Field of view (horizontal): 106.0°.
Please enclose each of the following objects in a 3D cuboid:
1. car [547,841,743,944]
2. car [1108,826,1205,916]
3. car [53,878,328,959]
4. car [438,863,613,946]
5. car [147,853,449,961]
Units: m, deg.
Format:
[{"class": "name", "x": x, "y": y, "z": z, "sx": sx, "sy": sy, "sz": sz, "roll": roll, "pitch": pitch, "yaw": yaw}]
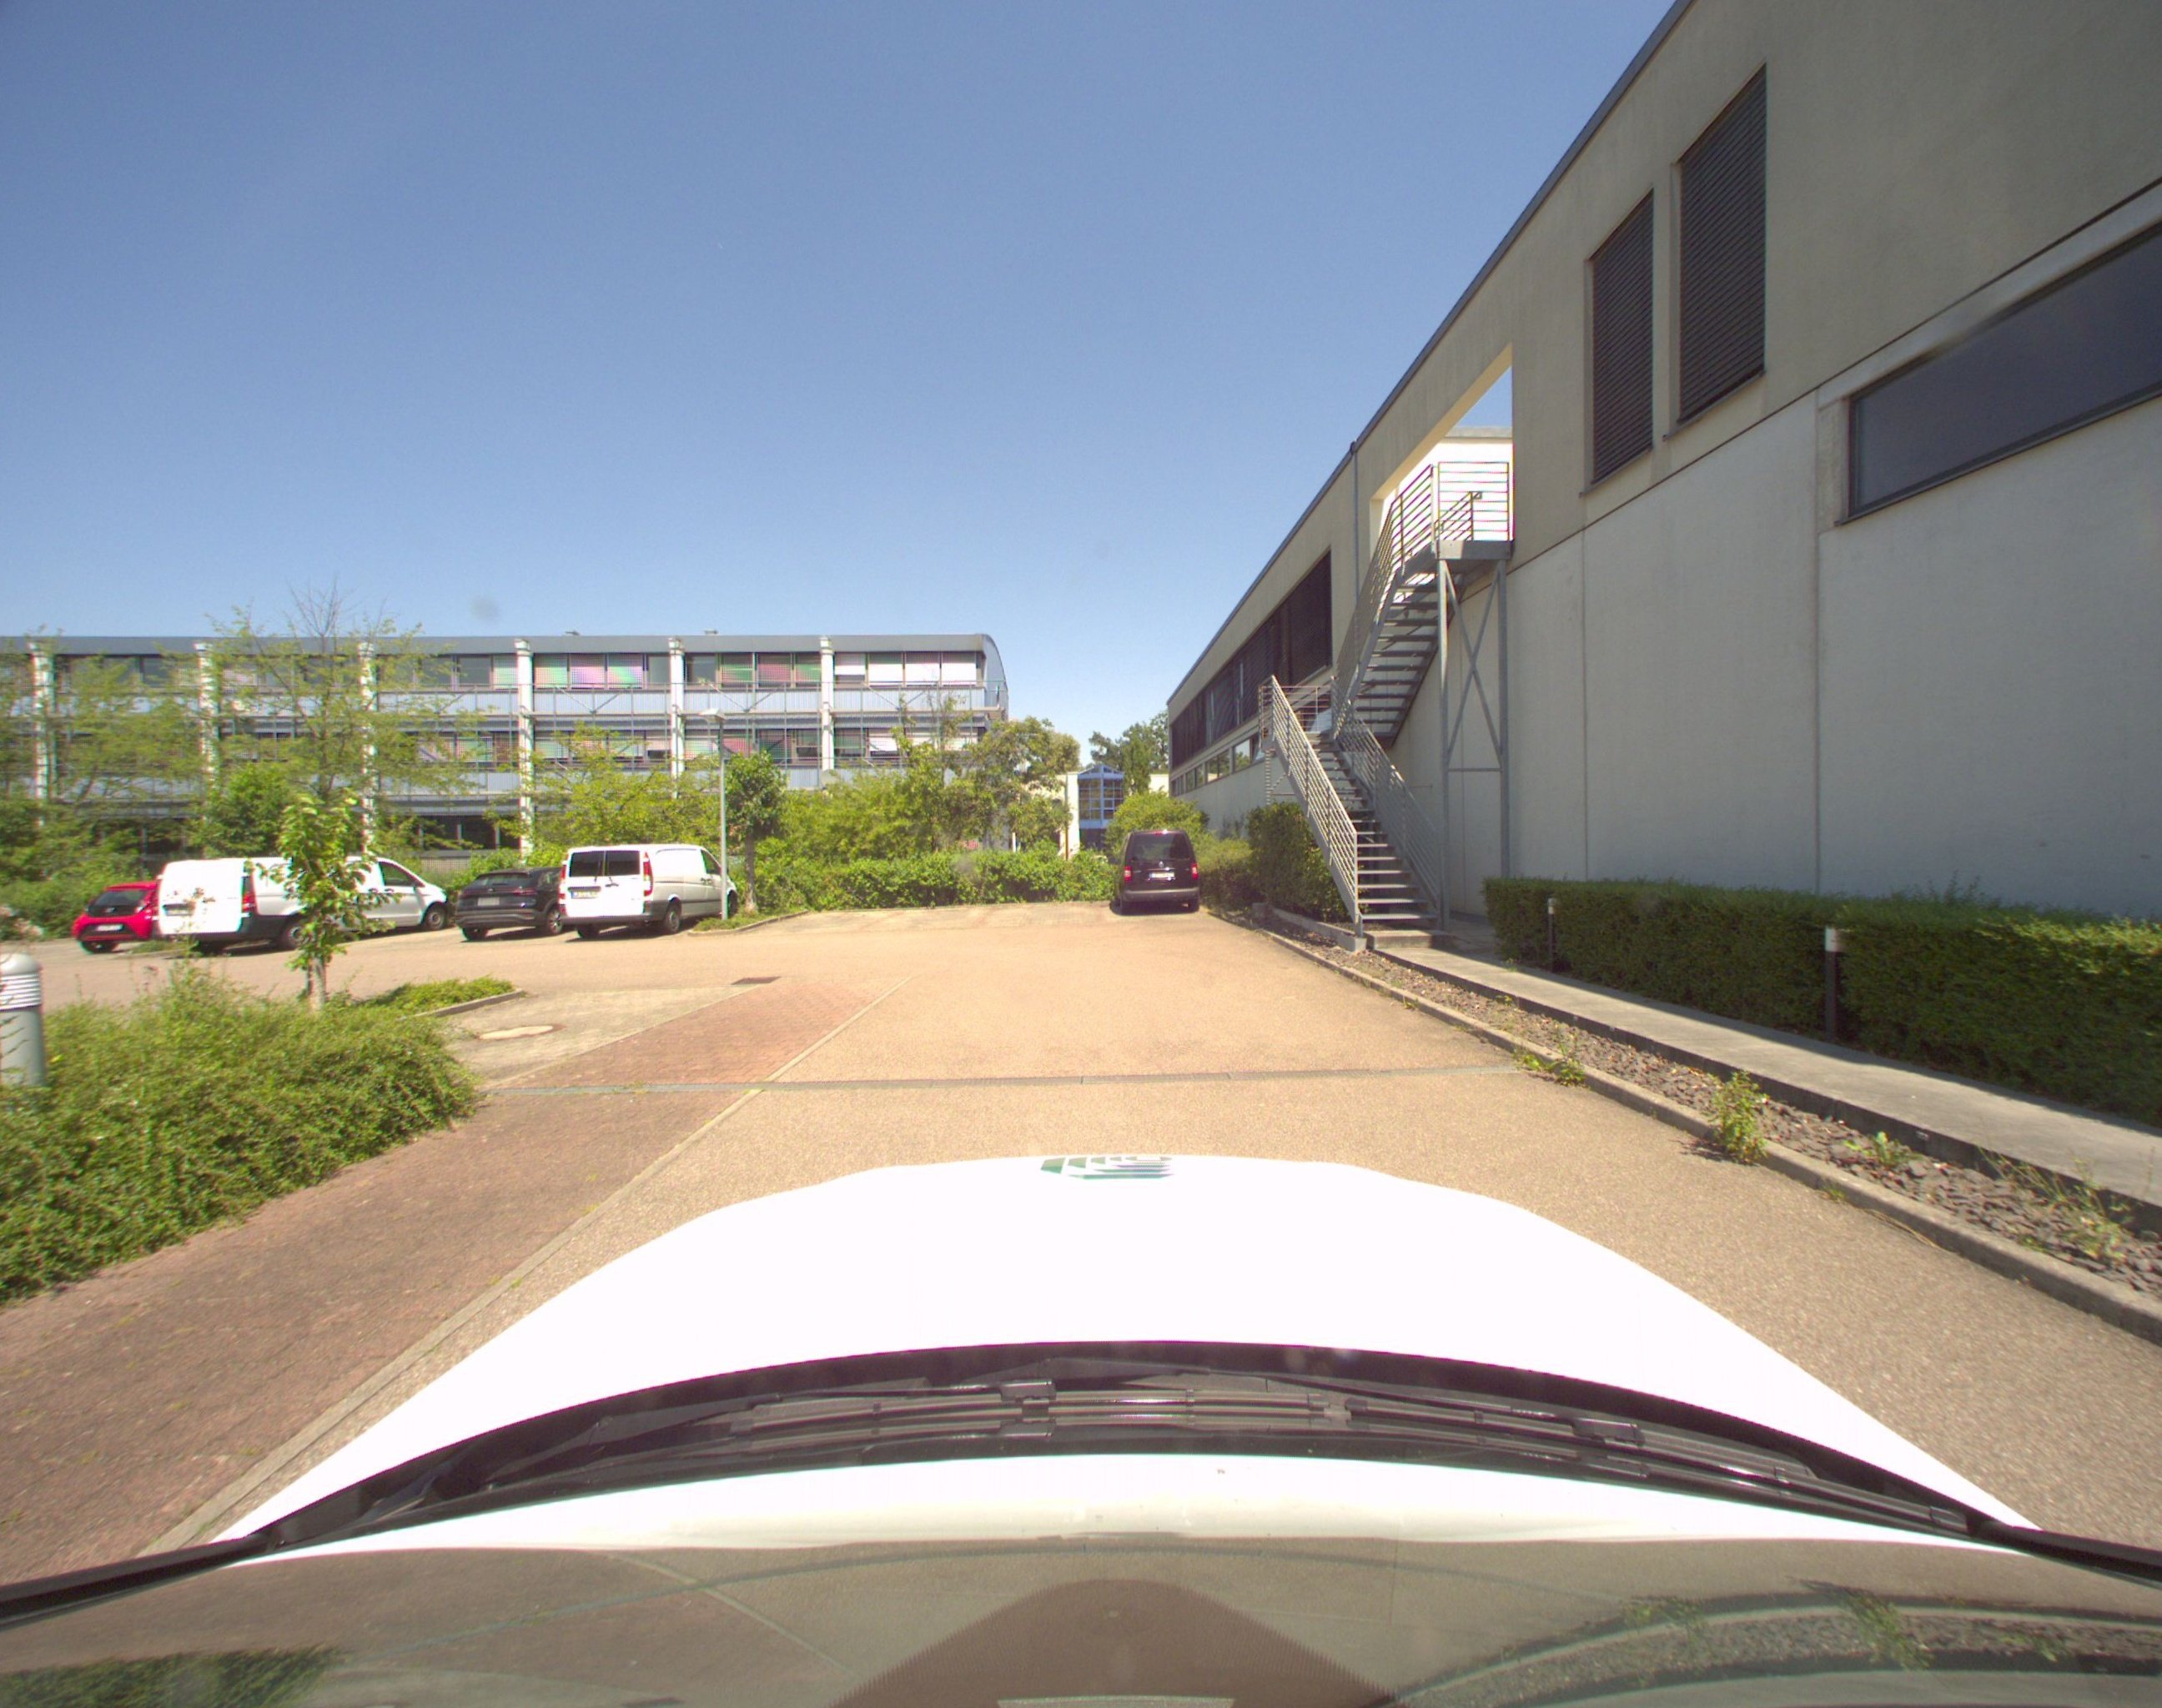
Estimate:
[{"class": "car", "x": -9.448, "y": 0.708, "z": 18.209, "sx": 1.909, "sy": 1.905, "sz": 4.803, "roll": -2, "pitch": 1, "yaw": -3}, {"class": "car", "x": 1.660, "y": 0.334, "z": 19.229, "sx": 1.739, "sy": 1.837, "sz": 3.997, "roll": -2, "pitch": 1, "yaw": -2}, {"class": "car", "x": -20.025, "y": 1.377, "z": 18.619, "sx": 1.776, "sy": 1.441, "sz": 4.001, "roll": -2, "pitch": 1, "yaw": 1}, {"class": "car", "x": -12.371, "y": 1.041, "z": 18.465, "sx": 1.755, "sy": 1.476, "sz": 3.985, "roll": -2, "pitch": 1, "yaw": -11}, {"class": "car", "x": -16.660, "y": 0.998, "z": 17.793, "sx": 1.876, "sy": 1.891, "sz": 4.803, "roll": -2, "pitch": 1, "yaw": 0}]
